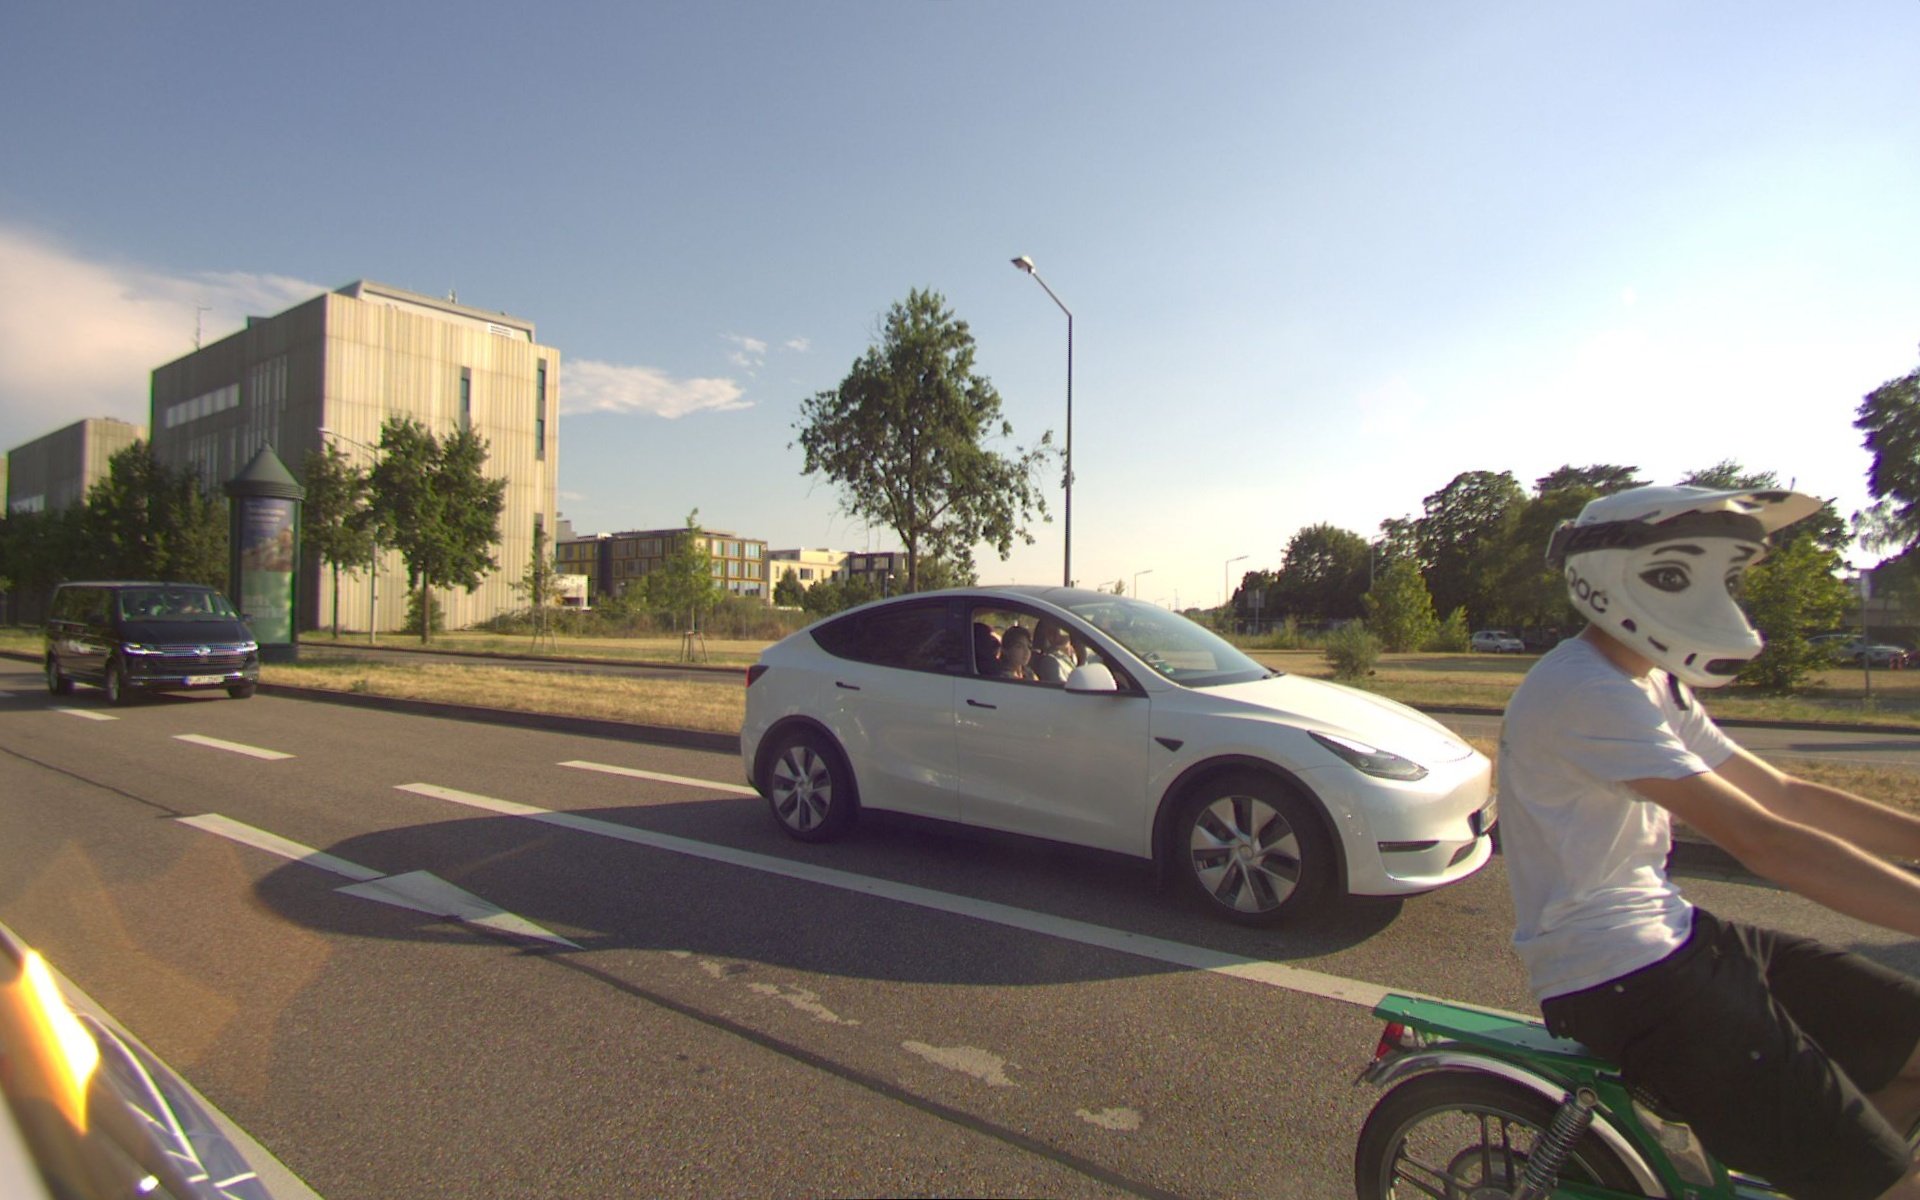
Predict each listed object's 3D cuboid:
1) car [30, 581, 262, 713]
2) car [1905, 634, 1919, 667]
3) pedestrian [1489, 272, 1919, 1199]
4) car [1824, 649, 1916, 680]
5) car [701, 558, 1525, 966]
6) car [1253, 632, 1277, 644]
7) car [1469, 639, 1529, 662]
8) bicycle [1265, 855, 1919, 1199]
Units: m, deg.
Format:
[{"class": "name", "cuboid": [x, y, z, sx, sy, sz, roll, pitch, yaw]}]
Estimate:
[{"class": "car", "cuboid": [-13.848, 0.712, 17.122, 5.003, 1.947, 1.839, -1, -1, 36]}, {"class": "car", "cuboid": [46.208, 2.372, 46.803, 1.557, 1.558, 3.383, 1, -2, -10]}, {"class": "pedestrian", "cuboid": [1.396, 0.347, 1.600, 0.854, 1.530, 0.649, -1, -3, 41]}, {"class": "car", "cuboid": [40.747, 2.867, 45.397, 1.315, 1.302, 2.810, 1, -2, -10]}, {"class": "car", "cuboid": [0.631, 0.679, 6.110, 4.669, 1.611, 1.719, -1, -1, 37]}, {"class": "car", "cuboid": [31.924, 3.975, 106.023, 1.315, 1.302, 2.810, 1, -2, -10]}, {"class": "car", "cuboid": [37.603, 3.526, 70.721, 1.630, 1.537, 3.951, 1, -2, -10]}, {"class": "bicycle", "cuboid": [1.425, 0.991, 1.464, 1.855, 0.882, 0.472, -1, -3, 41]}]
